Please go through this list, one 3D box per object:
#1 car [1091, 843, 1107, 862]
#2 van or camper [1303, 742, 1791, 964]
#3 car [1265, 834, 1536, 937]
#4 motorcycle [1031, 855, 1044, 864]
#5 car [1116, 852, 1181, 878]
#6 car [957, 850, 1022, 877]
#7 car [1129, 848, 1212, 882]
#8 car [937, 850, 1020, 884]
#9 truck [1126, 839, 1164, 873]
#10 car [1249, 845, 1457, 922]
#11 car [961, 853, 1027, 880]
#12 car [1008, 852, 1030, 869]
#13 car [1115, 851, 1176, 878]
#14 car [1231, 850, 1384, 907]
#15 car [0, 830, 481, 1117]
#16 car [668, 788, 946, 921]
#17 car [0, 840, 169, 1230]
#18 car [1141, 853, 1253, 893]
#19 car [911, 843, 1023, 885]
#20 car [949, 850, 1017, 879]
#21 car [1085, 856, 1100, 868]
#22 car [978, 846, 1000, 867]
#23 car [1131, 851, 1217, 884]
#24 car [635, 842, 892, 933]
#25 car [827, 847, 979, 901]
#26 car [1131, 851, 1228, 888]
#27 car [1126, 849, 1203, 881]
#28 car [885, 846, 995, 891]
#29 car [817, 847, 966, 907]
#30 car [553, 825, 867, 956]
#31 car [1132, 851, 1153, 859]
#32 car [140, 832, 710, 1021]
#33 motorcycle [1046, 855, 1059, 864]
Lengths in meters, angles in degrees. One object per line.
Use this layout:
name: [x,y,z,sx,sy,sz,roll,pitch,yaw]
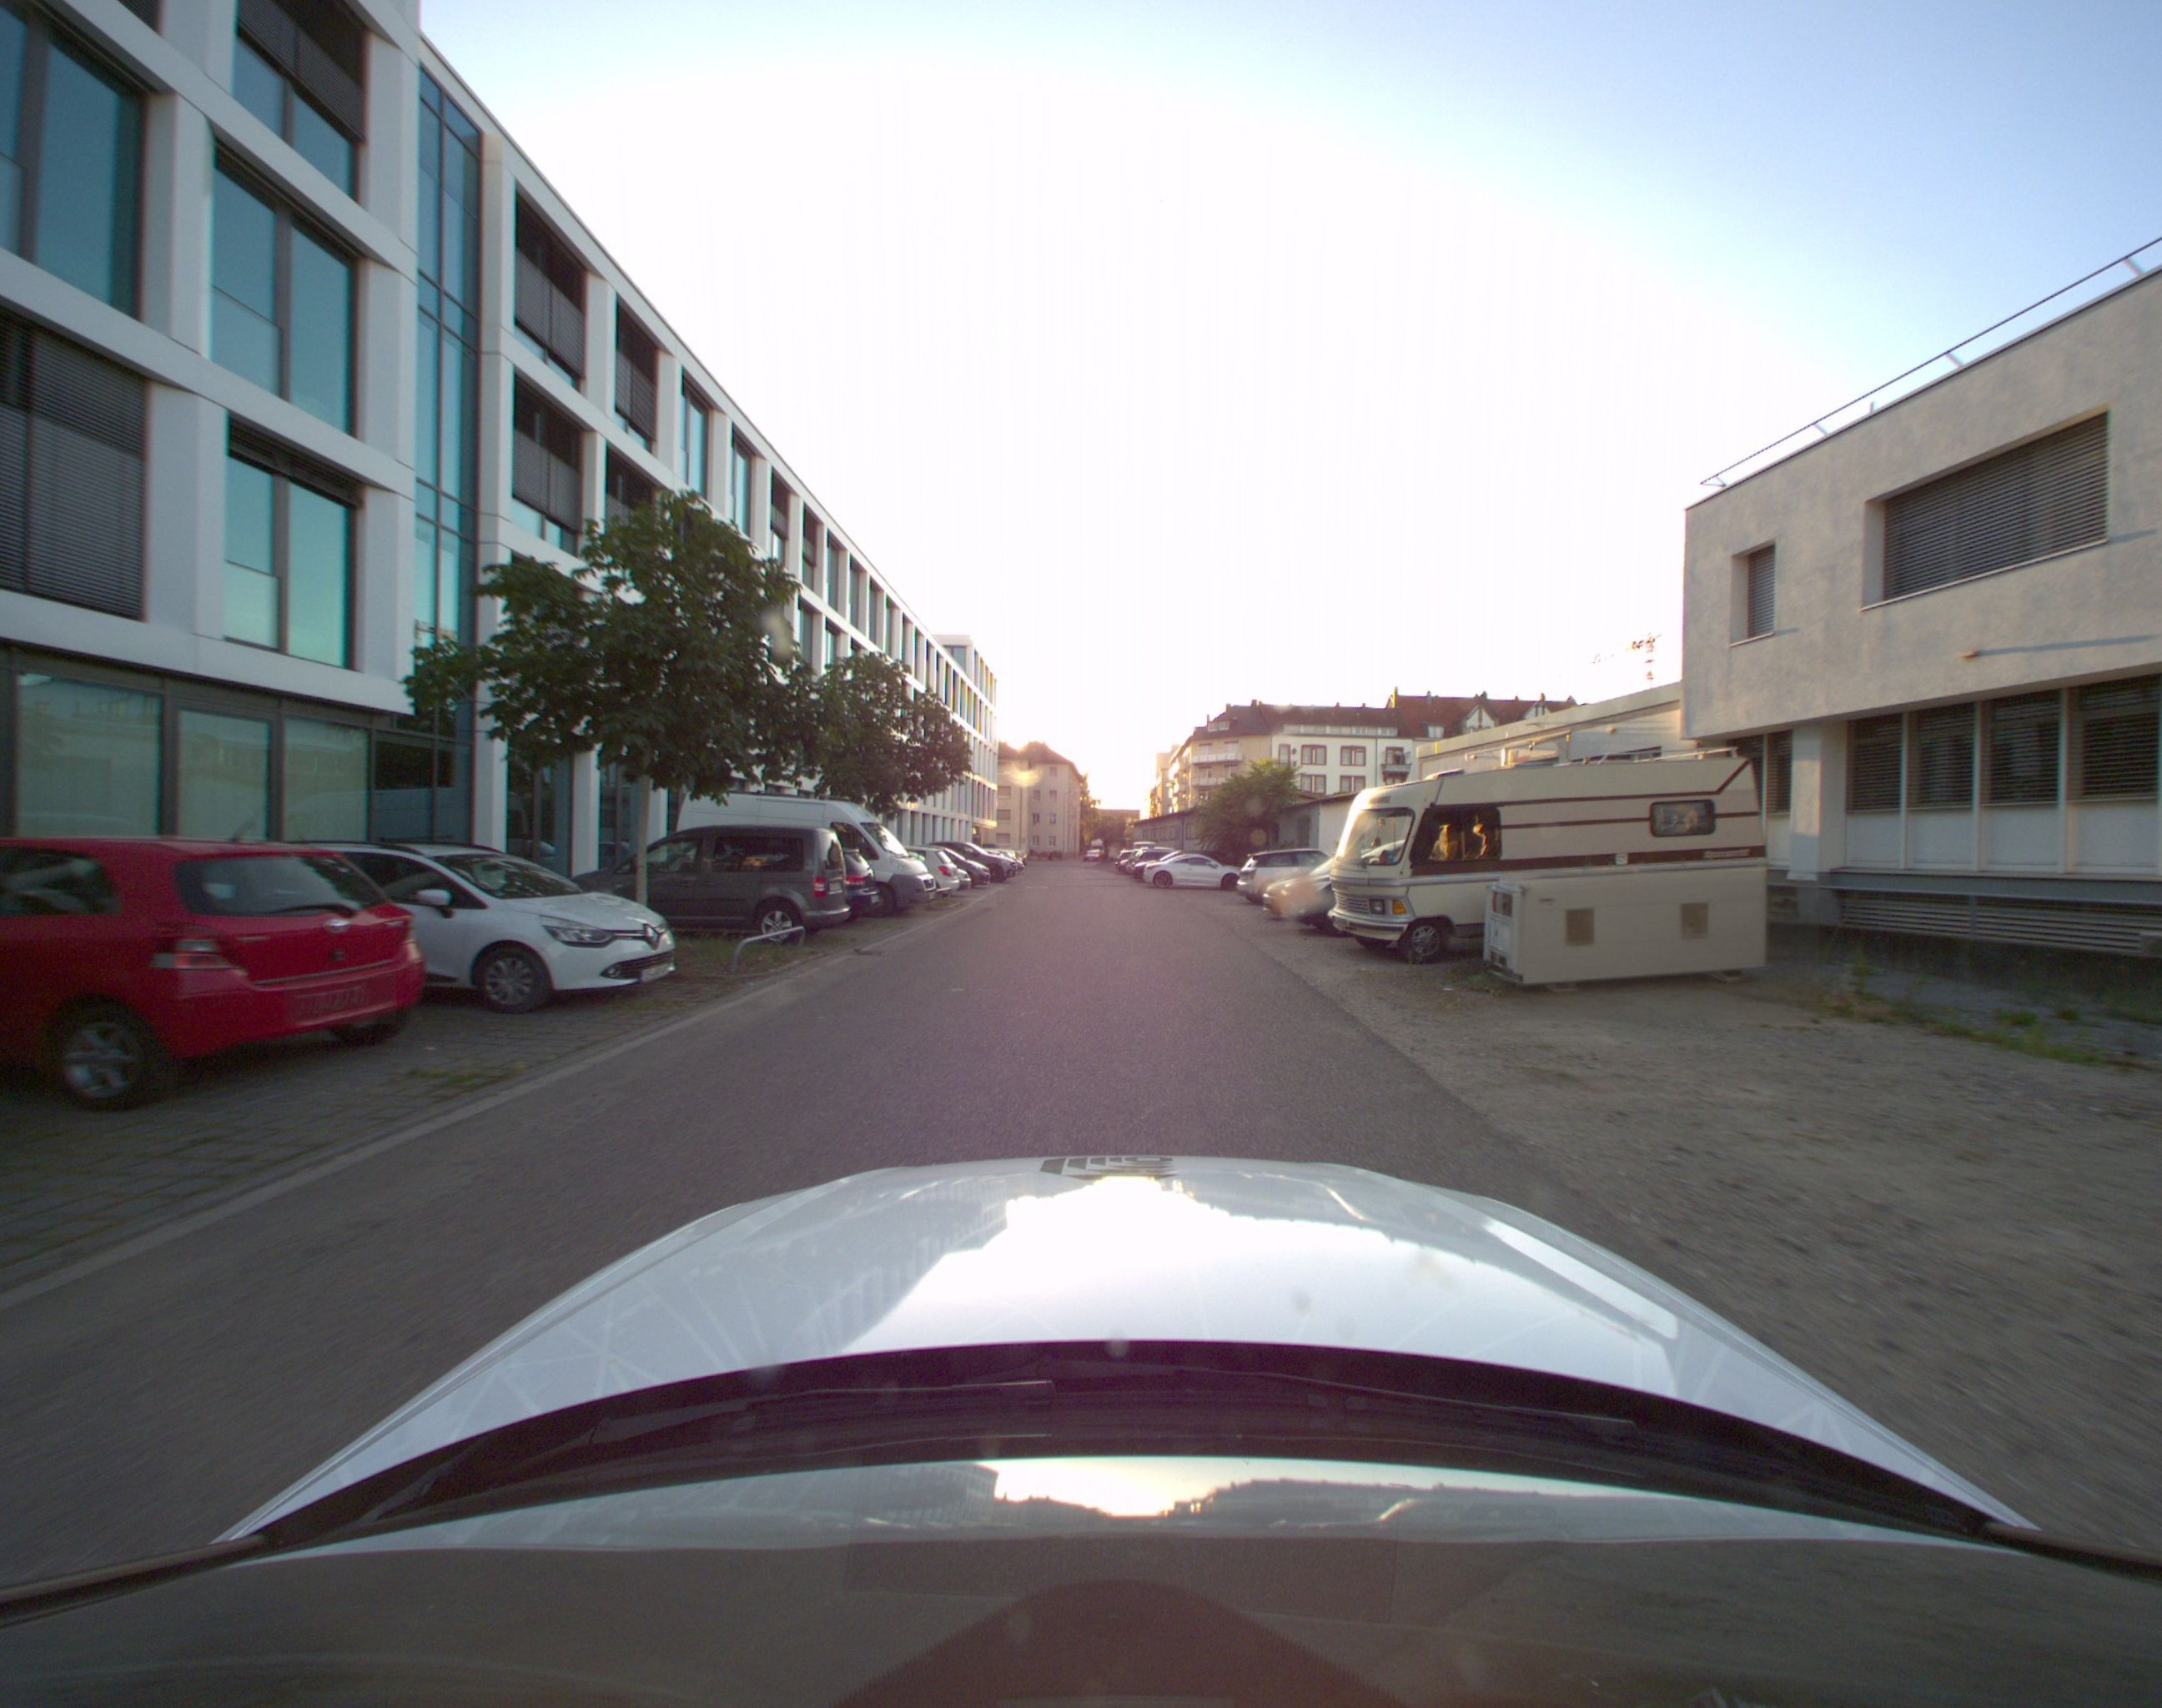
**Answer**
car: [3.268,-0.219,148.465,2.609,3.269,7.702,-1,0,3]
van or camper: [6.478,-0.027,11.907,5.766,2.864,2.485,0,-1,-3]
car: [5.664,0.548,14.889,4.223,1.741,1.969,0,-1,2]
motorcycle: [-5.239,0.662,98.705,0.717,1.079,2.092,1,0,23]
car: [4.107,0.667,49.668,3.750,1.444,1.843,2,-1,-2]
car: [-5.489,0.564,49.039,3.641,1.511,1.688,2,0,1]
car: [4.626,0.569,42.337,3.977,1.619,1.824,2,0,-5]
car: [-4.888,0.602,39.235,3.650,1.511,1.698,2,0,4]
truck: [4.343,0.124,56.240,2.092,2.200,5.708,1,0,-1]
car: [5.885,0.603,17.875,3.998,1.564,1.709,0,0,-5]
car: [-5.464,0.772,51.688,3.911,1.511,1.688,2,0,1]
car: [-5.804,0.577,76.651,1.774,1.479,4.329,4,0,-1]
car: [4.111,0.666,52.097,3.747,1.535,1.891,2,1,0]
car: [6.134,0.649,22.314,3.696,1.479,1.710,0,0,-3]
car: [-6.782,0.636,5.451,4.095,1.518,1.845,2,0,0]
car: [-5.935,-0.001,18.131,5.360,2.632,2.079,2,0,1]
car: [-6.281,0.660,2.795,4.096,1.518,1.844,2,0,-1]
car: [4.479,0.719,31.883,4.186,1.367,1.824,2,0,2]
car: [-5.058,0.426,36.570,4.598,1.706,2.007,2,0,4]
car: [-5.602,0.605,46.766,3.641,1.511,1.688,2,0,1]
car: [1.500,1.014,103.247,1.838,1.473,4.079,1,0,1]
car: [-9.188,0.234,81.644,1.793,1.979,4.687,1,1,-1]
car: [4.471,0.637,39.558,3.972,1.445,1.826,2,-1,-1]
car: [-5.842,0.595,15.399,4.099,1.499,1.772,2,0,-4]
car: [-5.505,0.596,25.590,4.291,1.495,1.796,2,0,2]
car: [4.441,0.696,37.081,4.188,1.503,1.890,2,-1,0]
car: [4.542,0.611,44.840,3.974,1.609,1.937,2,0,-2]
car: [-5.199,0.535,30.434,3.770,1.522,1.693,2,0,-1]
car: [-5.240,0.605,22.858,3.695,1.495,1.708,2,0,0]
car: [-5.707,0.543,12.978,4.099,1.817,1.814,2,0,-4]
car: [11.924,0.248,158.343,3.972,1.530,1.659,-1,0,1]
car: [-6.143,0.629,8.017,4.095,1.518,1.780,2,0,0]
motorcycle: [-3.517,0.702,101.196,0.682,1.160,2.046,1,0,27]
